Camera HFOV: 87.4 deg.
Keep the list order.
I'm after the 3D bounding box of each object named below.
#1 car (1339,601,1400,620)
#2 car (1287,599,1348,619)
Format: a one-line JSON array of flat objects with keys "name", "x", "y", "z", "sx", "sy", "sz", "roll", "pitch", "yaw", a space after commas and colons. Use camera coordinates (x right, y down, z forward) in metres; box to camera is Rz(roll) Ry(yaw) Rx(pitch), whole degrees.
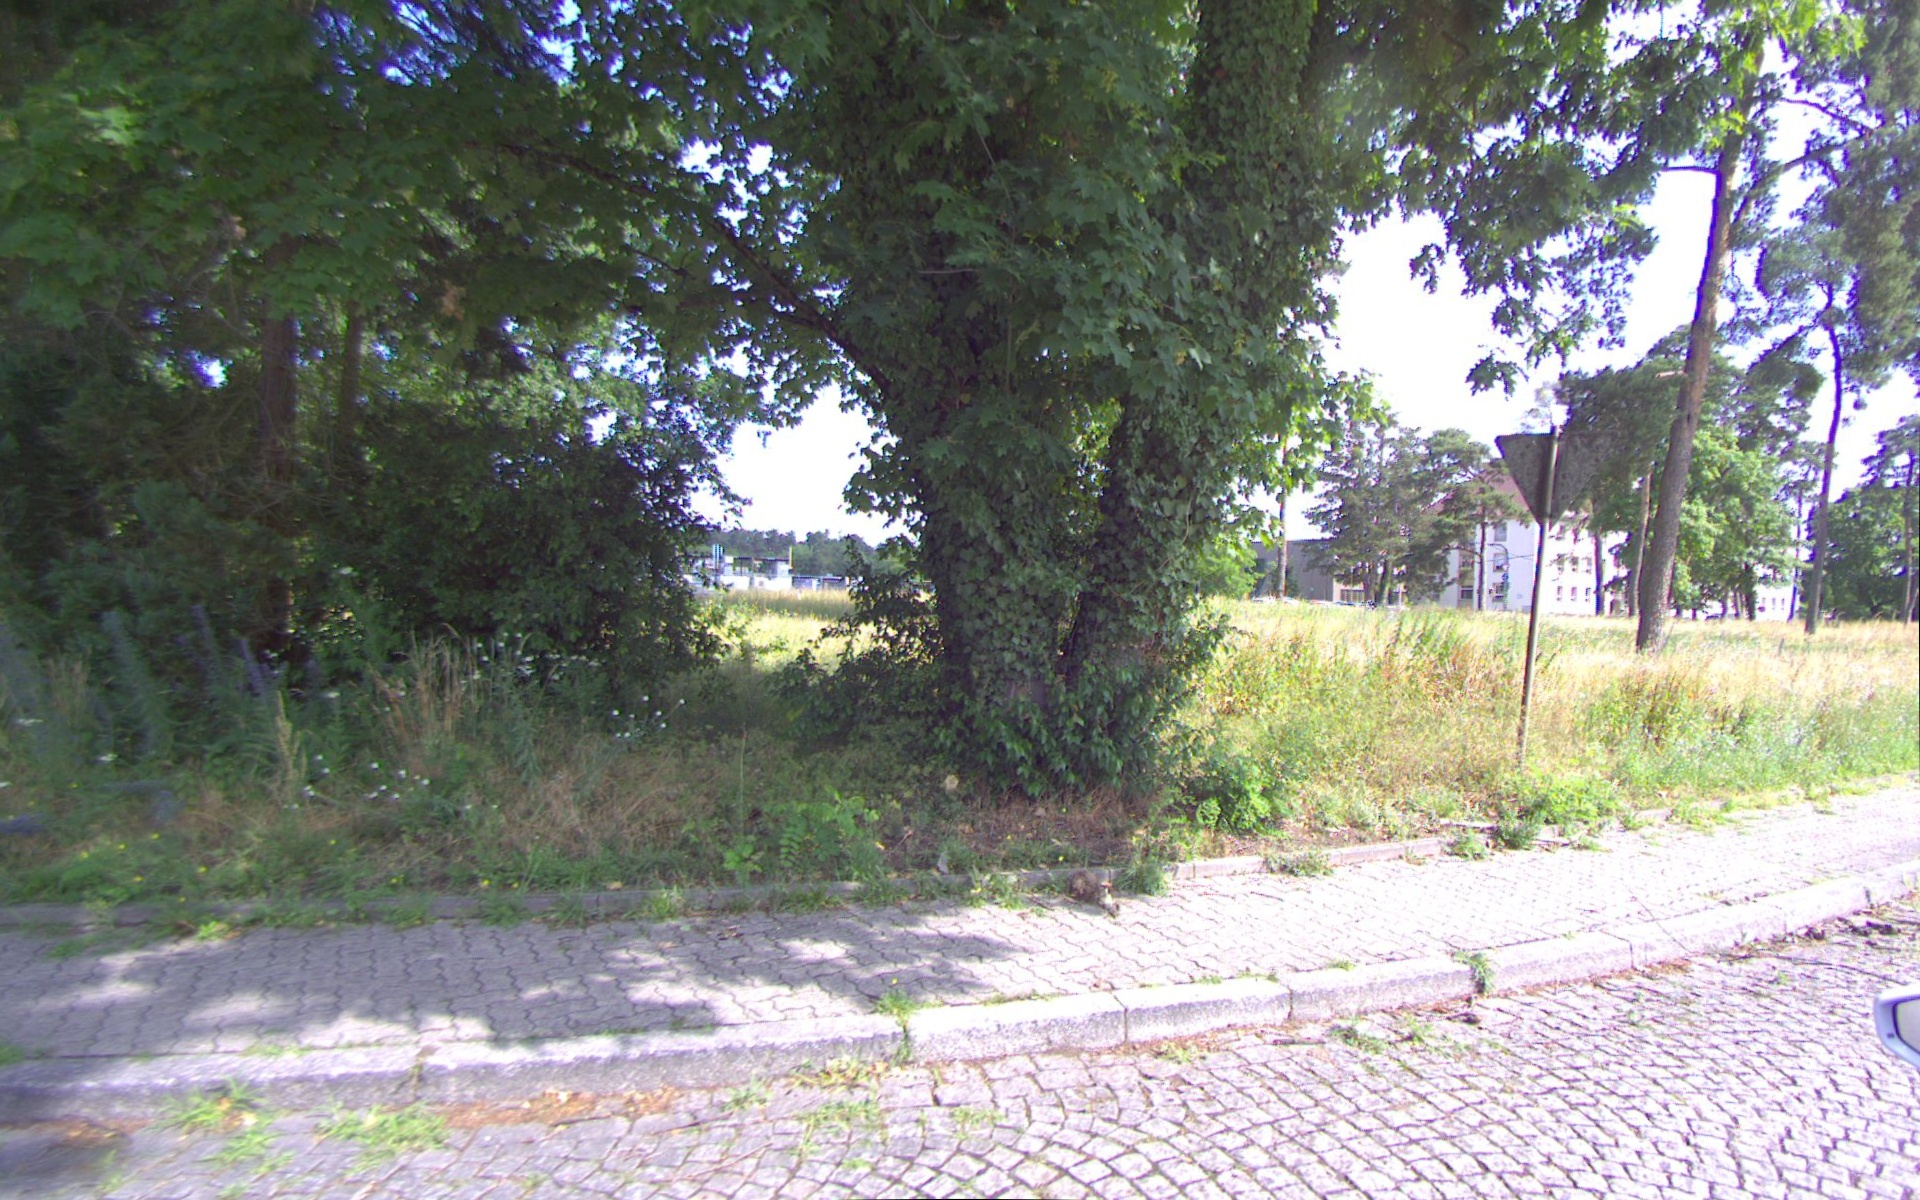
[{"name": "car", "x": 31.476, "y": 0.801, "z": 77.214, "sx": 1.878, "sy": 1.327, "sz": 4.046, "roll": 2, "pitch": 0, "yaw": -30}, {"name": "car", "x": 26.664, "y": 0.643, "z": 75.096, "sx": 1.878, "sy": 1.356, "sz": 4.046, "roll": 2, "pitch": 0, "yaw": -30}]
